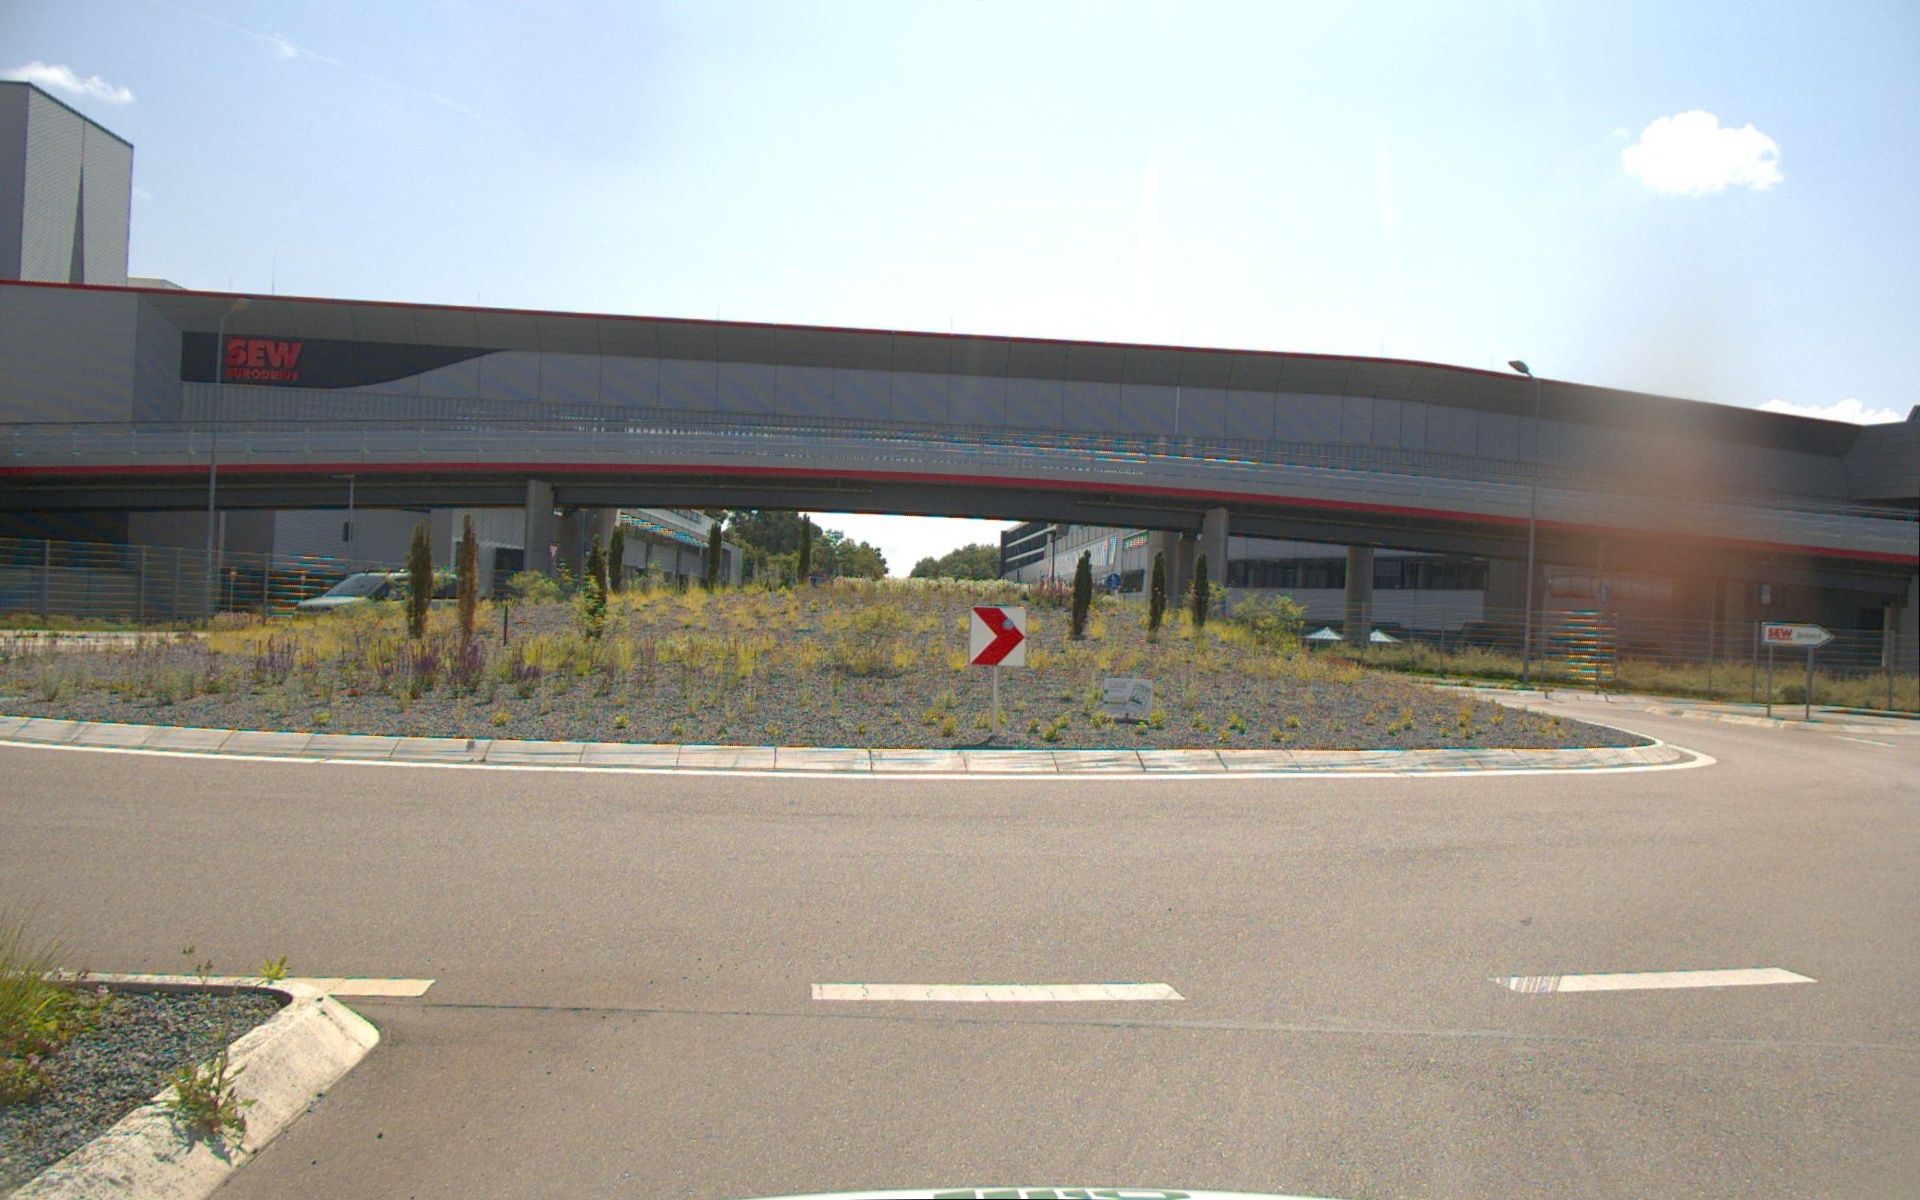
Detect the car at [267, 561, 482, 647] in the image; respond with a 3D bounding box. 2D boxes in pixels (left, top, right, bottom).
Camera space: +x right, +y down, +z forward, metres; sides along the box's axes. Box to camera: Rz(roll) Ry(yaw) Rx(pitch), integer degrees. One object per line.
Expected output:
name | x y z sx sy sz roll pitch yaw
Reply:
car | -13.458 0.124 38.299 1.955 1.810 4.555 2 0 27
